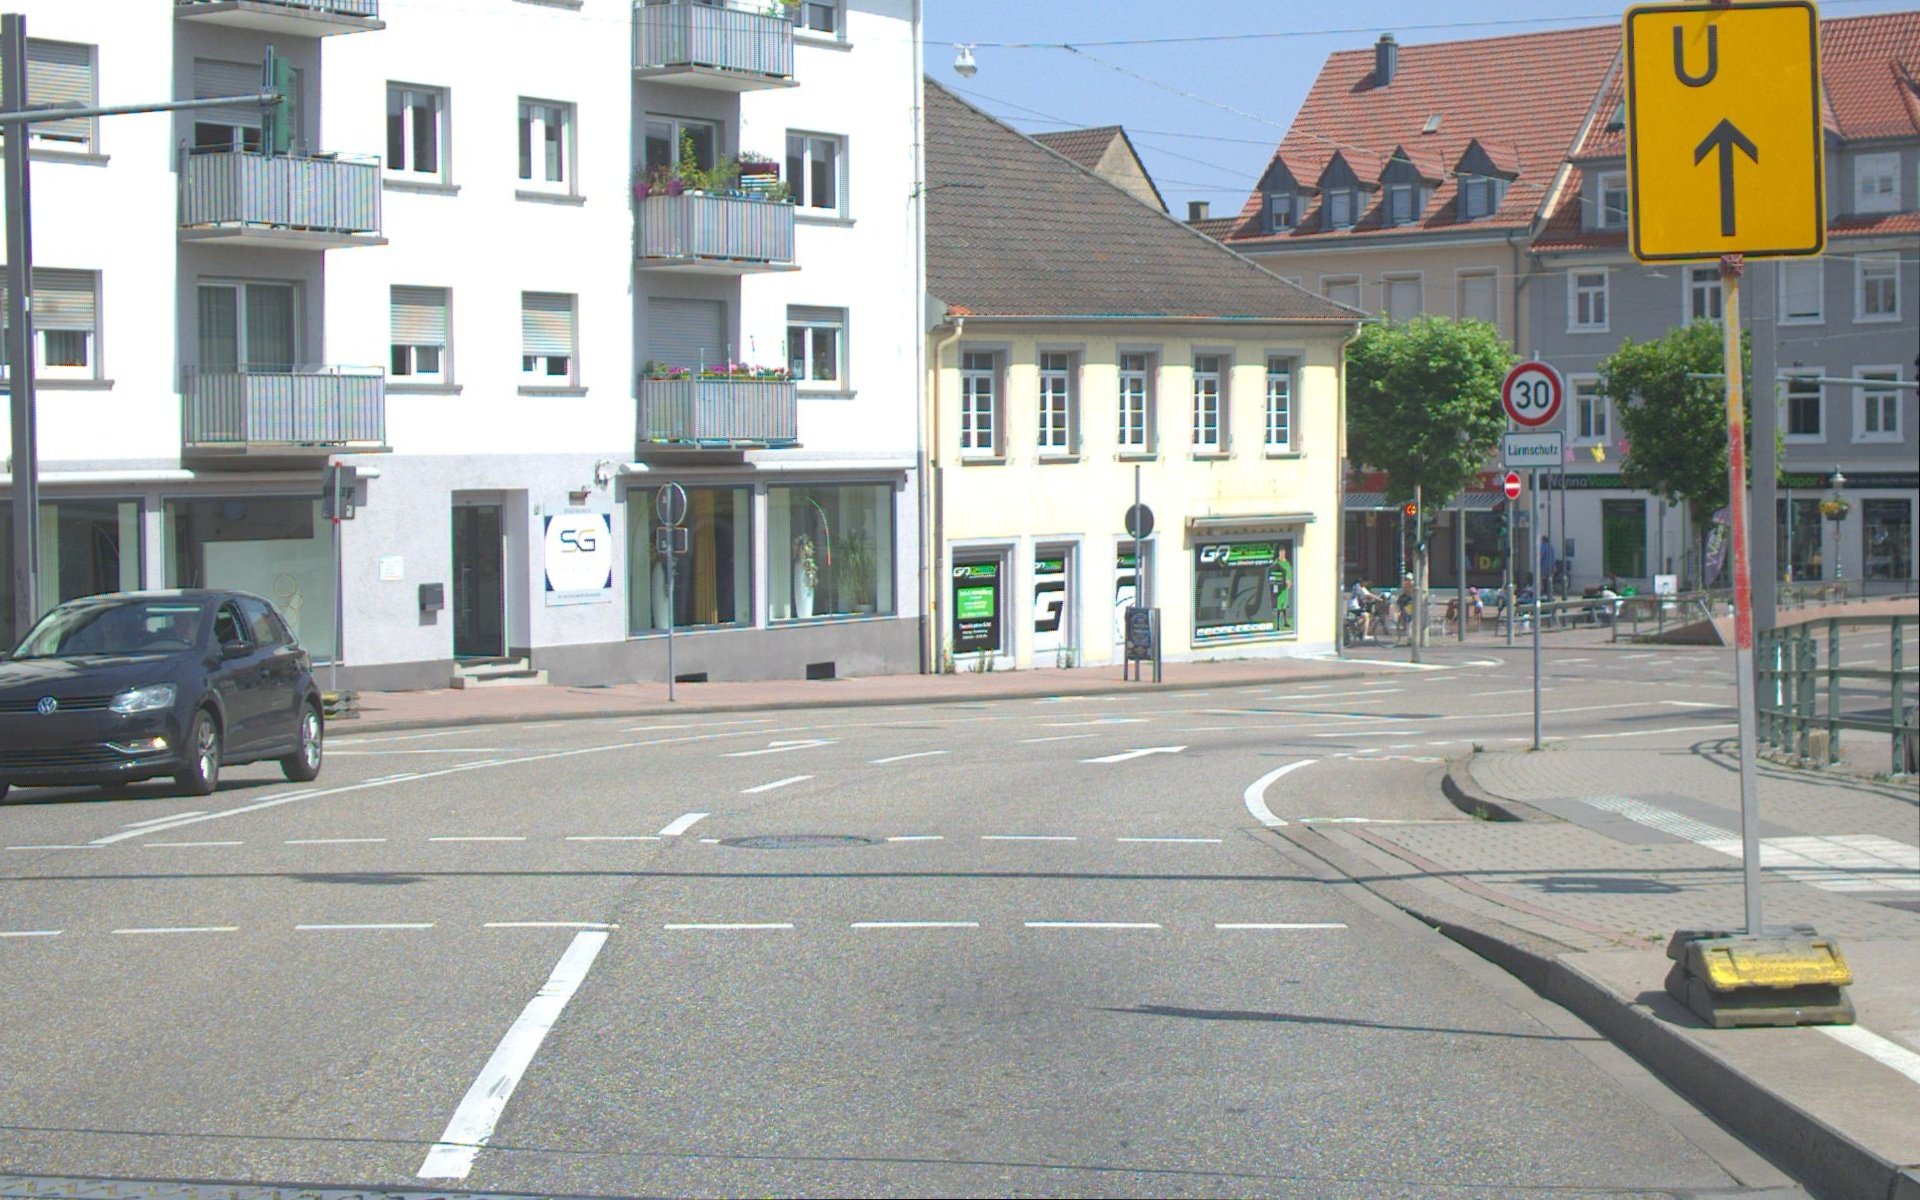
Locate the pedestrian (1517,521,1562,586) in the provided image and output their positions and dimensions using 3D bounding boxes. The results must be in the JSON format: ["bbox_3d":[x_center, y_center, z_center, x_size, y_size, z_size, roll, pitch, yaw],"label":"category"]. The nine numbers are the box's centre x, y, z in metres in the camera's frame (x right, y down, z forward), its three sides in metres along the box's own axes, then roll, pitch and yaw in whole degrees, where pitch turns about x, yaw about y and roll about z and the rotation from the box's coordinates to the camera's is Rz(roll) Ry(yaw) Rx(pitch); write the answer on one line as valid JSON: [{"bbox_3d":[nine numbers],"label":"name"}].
[{"bbox_3d":[17.973,-1.458,106.638,1.033,1.973,1.018,2,3,34],"label":"pedestrian"}]

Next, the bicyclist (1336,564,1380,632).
[{"bbox_3d":[9.173,-0.041,79.326,0.917,1.533,0.649,1,2,0],"label":"bicyclist"}]

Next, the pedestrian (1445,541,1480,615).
[{"bbox_3d":[13.437,-0.590,91.950,0.797,1.958,0.531,2,2,20],"label":"pedestrian"}]

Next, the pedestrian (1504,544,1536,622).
[{"bbox_3d":[14.618,-0.452,89.699,0.769,2.006,0.562,1,2,12],"label":"pedestrian"}]

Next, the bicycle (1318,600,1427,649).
[{"bbox_3d":[9.515,0.561,79.381,2.354,1.047,1.072,1,2,-1],"label":"bicycle"}]

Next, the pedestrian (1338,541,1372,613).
[{"bbox_3d":[10.468,-0.623,91.173,0.827,1.867,0.866,1,2,4],"label":"pedestrian"}]

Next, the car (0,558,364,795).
[{"bbox_3d":[-5.620,0.528,24.060,1.677,1.483,3.953,-2,-1,8],"label":"car"}]

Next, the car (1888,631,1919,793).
[{"bbox_3d":[9.742,1.077,31.401,1.752,1.466,4.252,1,1,6],"label":"car"}]
